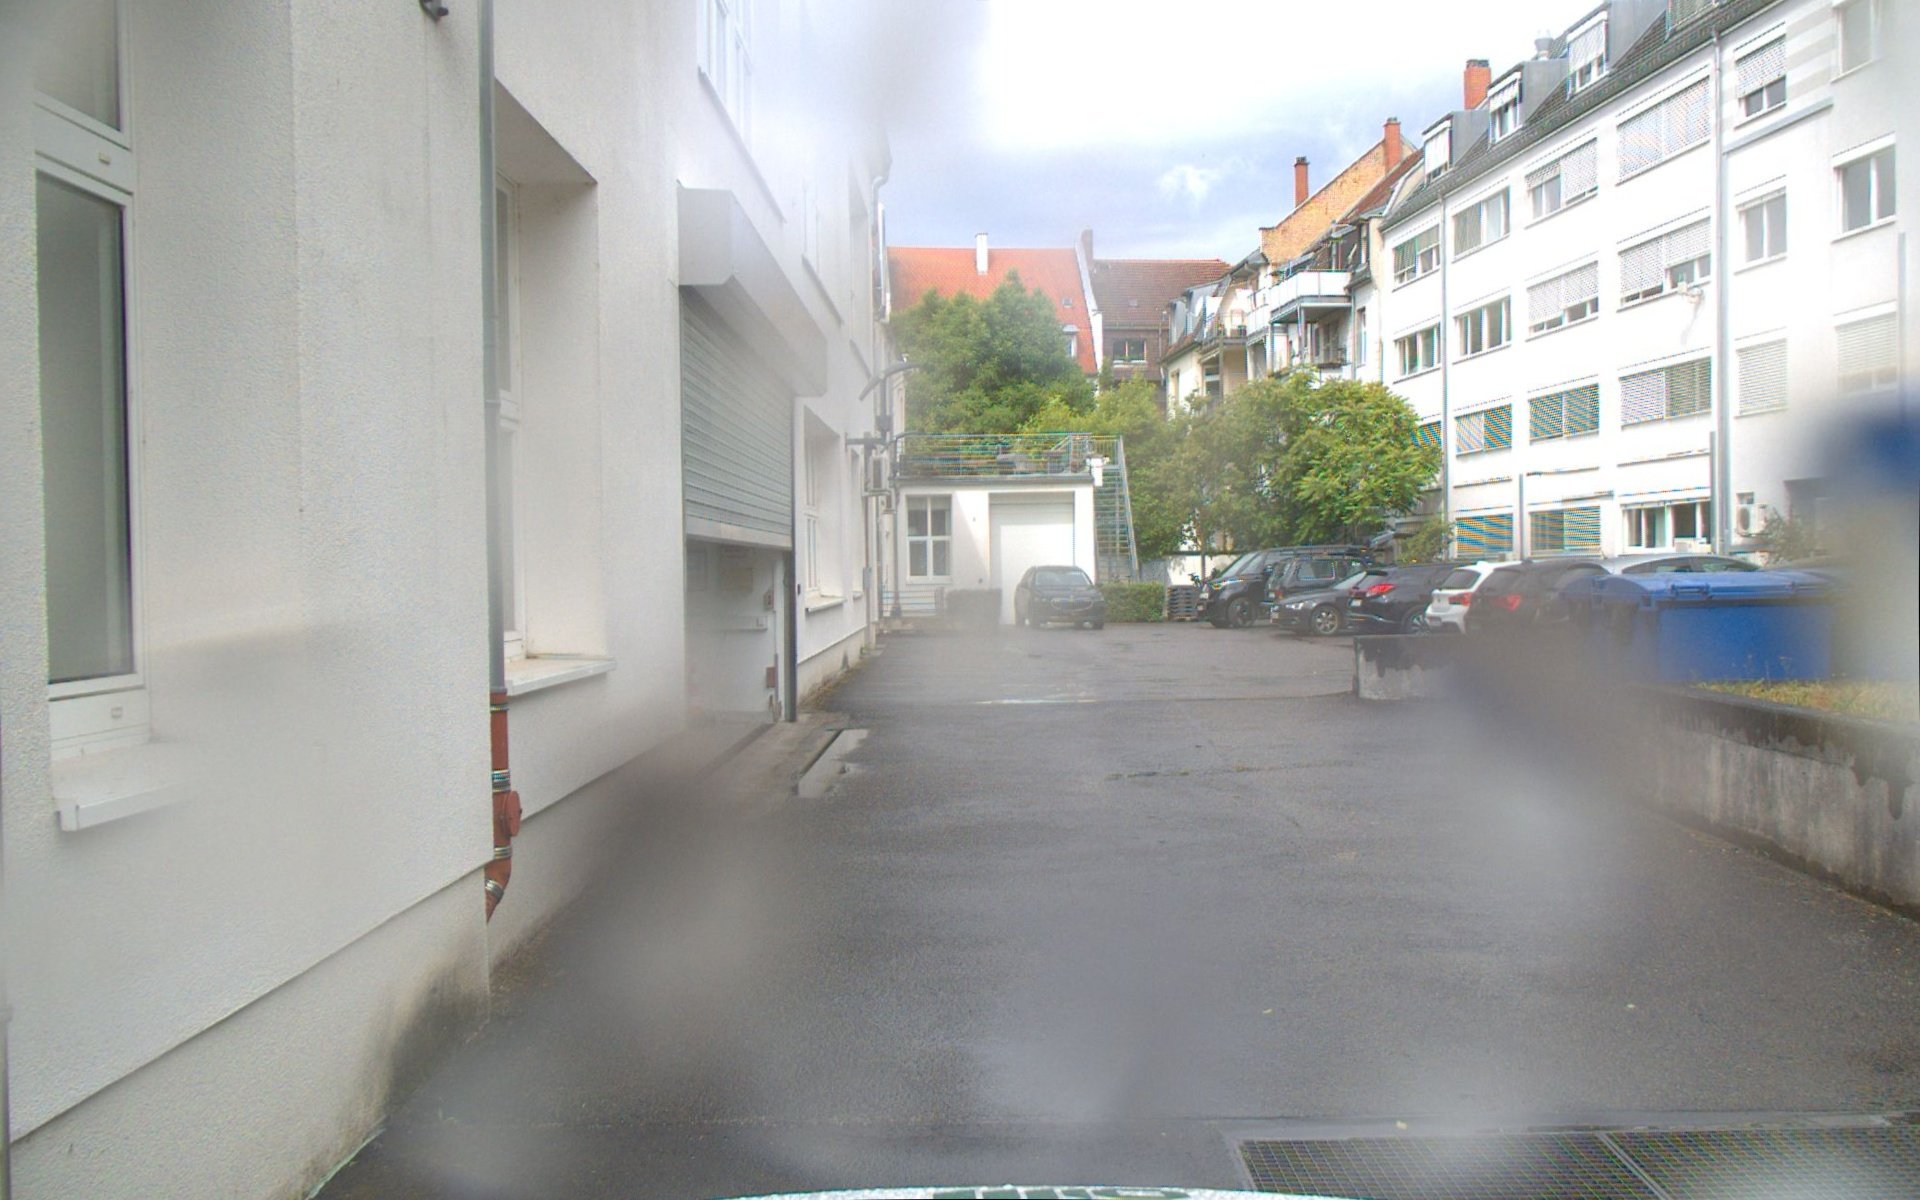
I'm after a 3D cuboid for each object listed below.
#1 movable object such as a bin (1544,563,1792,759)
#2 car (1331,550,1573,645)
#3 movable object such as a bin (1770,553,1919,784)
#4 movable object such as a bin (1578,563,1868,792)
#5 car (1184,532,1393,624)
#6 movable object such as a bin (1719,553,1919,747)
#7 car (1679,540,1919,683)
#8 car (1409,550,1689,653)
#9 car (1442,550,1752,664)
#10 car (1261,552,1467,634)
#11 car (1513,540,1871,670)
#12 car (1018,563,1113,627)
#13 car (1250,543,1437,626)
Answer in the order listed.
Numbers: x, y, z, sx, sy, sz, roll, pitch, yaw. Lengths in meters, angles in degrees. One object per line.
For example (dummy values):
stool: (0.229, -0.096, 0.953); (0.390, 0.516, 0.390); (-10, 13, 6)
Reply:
movable object such as a bin: (5.163, 0.422, 12.163); (1.343, 1.327, 1.083); (-2, 0, 2)
car: (8.985, -0.054, 30.372); (3.835, 1.540, 1.817); (-2, 0, -7)
movable object such as a bin: (6.053, 0.387, 10.450); (1.266, 1.359, 1.197); (-2, 0, 2)
movable object such as a bin: (4.748, 0.453, 10.393); (1.310, 1.314, 1.096); (-2, 1, 2)
car: (8.077, -0.569, 40.922); (4.552, 2.038, 2.220); (-3, 1, -11)
movable object such as a bin: (6.436, 0.343, 12.186); (1.161, 1.327, 1.107); (-2, 0, 1)
car: (10.267, 0.079, 18.855); (3.347, 1.451, 1.687); (-3, 0, -3)
car: (9.584, 0.016, 27.068); (3.910, 1.484, 1.771); (-2, 0, -6)
car: (9.435, 0.075, 24.668); (3.910, 1.427, 1.771); (-3, 1, -5)
car: (8.473, -0.153, 34.887); (3.833, 1.540, 1.750); (-2, 0, -5)
car: (9.609, 0.051, 21.901); (3.908, 1.470, 1.805); (-3, 1, -3)
car: (2.535, -0.154, 40.568); (1.939, 1.469, 3.999); (-1, 1, -2)
car: (8.802, -0.354, 38.166); (3.830, 1.717, 1.817); (-2, 0, -2)
